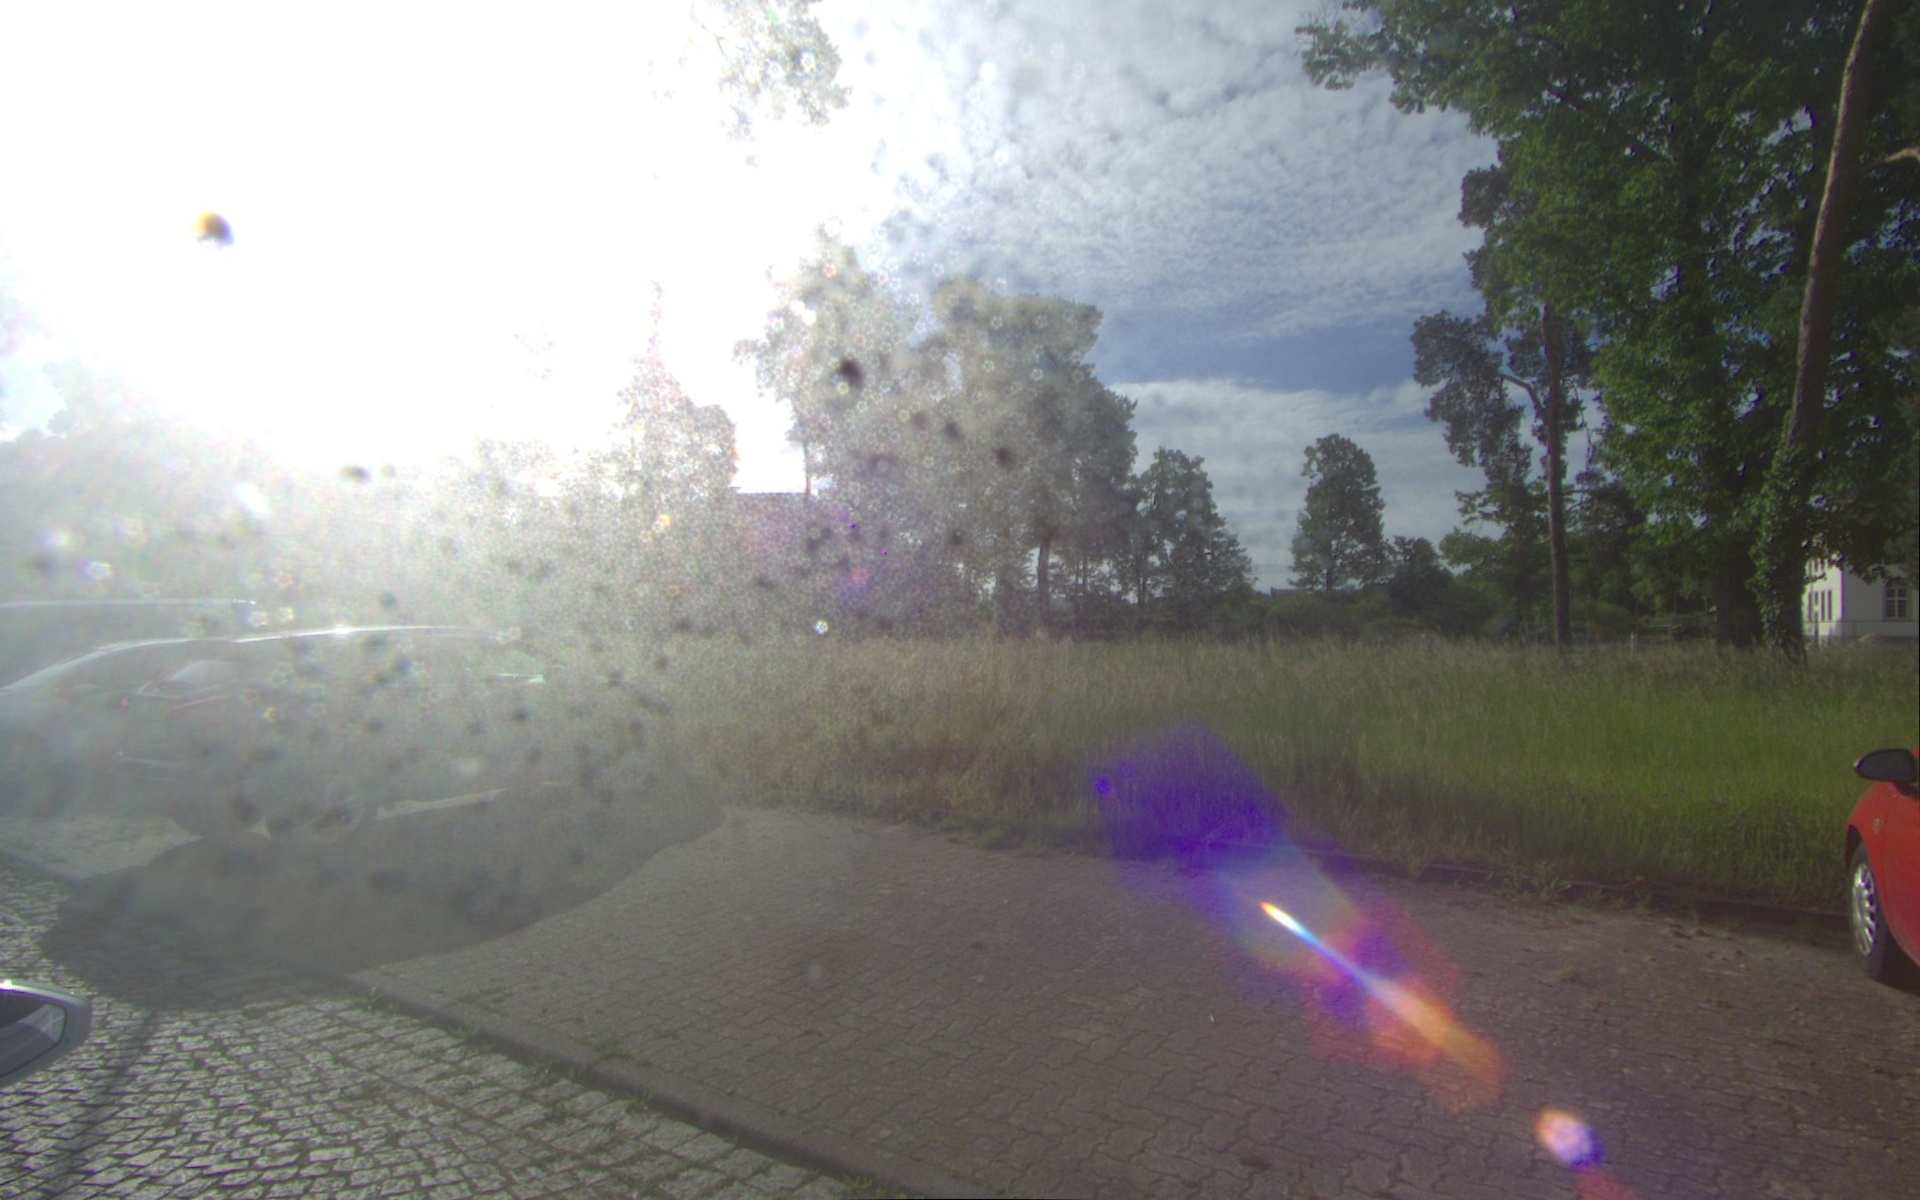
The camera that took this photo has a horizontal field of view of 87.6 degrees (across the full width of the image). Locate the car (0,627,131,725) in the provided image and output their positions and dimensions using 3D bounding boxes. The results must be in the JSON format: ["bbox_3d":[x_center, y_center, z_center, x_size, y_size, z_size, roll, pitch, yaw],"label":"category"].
[{"bbox_3d":[-16.171,1.230,16.241,1.782,1.550,3.866,-1,-2,33],"label":"car"}]

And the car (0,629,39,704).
[{"bbox_3d":[-20.838,1.340,19.521,1.747,1.514,3.943,-1,-2,33],"label":"car"}]

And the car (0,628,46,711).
[{"bbox_3d":[-18.768,1.264,17.407,1.805,1.486,3.943,-1,-2,33],"label":"car"}]

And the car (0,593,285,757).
[{"bbox_3d":[-11.917,0.915,13.101,1.964,1.954,4.723,-1,0,32],"label":"car"}]

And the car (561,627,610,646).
[{"bbox_3d":[-33.790,3.275,90.370,1.829,1.701,3.927,-1,-2,31],"label":"car"}]

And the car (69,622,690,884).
[{"bbox_3d":[-4.505,1.005,8.463,1.851,1.609,4.183,-1,-2,32],"label":"car"}]

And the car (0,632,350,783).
[{"bbox_3d":[-9.814,1.148,11.790,1.780,1.488,4.187,-1,-2,29],"label":"car"}]

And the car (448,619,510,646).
[{"bbox_3d":[-47.351,3.245,98.640,2.233,2.567,5.147,-1,-2,34],"label":"car"}]

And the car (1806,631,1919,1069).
[{"bbox_3d":[3.997,0.868,2.981,1.663,1.492,3.870,-1,-1,32],"label":"car"}]
